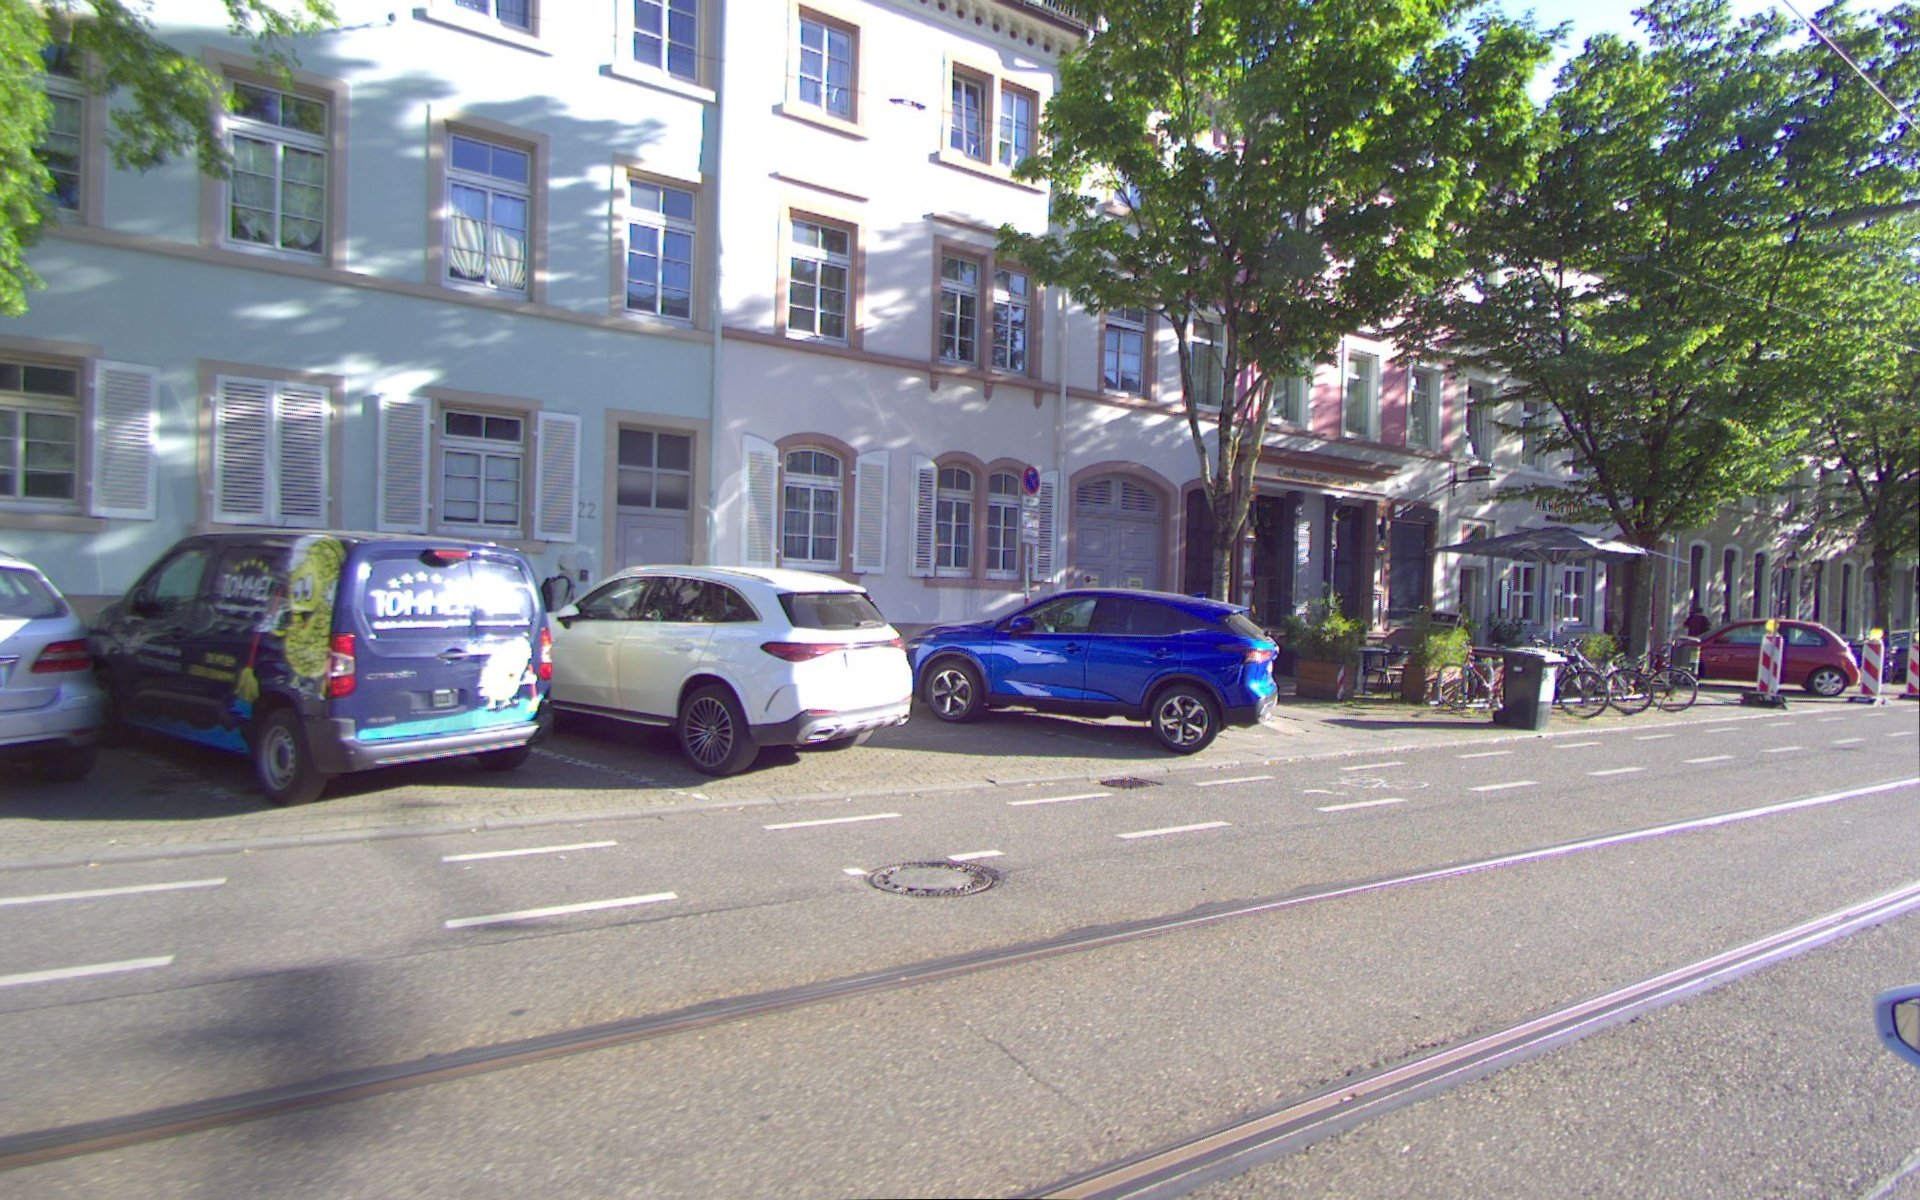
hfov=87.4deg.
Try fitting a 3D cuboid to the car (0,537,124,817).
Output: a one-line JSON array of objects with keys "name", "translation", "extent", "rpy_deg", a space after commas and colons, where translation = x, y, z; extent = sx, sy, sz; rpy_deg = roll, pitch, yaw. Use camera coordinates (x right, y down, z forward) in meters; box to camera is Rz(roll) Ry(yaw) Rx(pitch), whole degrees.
[{"name": "car", "translation": [-7.695, 0.376, 6.836], "extent": [3.928, 1.679, 1.807], "rpy_deg": [4, 3, 29]}]

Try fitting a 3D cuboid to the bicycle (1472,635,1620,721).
[{"name": "bicycle", "translation": [9.146, 1.183, 15.774], "extent": [0.561, 1.094, 1.959], "rpy_deg": [1, 3, -28]}]

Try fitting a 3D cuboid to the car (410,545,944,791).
[{"name": "car", "translation": [-2.804, 0.457, 9.649], "extent": [4.854, 1.818, 2.204], "rpy_deg": [2, 0, 31]}]

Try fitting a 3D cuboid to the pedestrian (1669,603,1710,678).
[{"name": "pedestrian", "translation": [20.291, 1.125, 27.930], "extent": [0.550, 2.040, 0.728], "rpy_deg": [1, 0, -30]}]

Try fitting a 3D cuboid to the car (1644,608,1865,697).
[{"name": "car", "translation": [17.246, 1.076, 22.047], "extent": [3.563, 1.574, 1.664], "rpy_deg": [3, 3, 33]}]

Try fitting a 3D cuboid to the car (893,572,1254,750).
[{"name": "car", "translation": [1.320, 0.613, 11.697], "extent": [3.827, 1.630, 1.573], "rpy_deg": [4, 0, 22]}]

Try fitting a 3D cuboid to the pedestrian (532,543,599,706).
[{"name": "pedestrian", "translation": [-4.672, 0.284, 11.874], "extent": [0.617, 1.862, 0.640], "rpy_deg": [1, 0, -30]}]

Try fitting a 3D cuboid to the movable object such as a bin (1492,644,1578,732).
[{"name": "movable object such as a bin", "translation": [7.784, 1.174, 13.606], "extent": [0.701, 1.092, 0.680], "rpy_deg": [1, 4, -30]}]

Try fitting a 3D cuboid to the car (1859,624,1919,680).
[{"name": "car", "translation": [27.847, 1.536, 28.110], "extent": [3.618, 1.490, 1.750], "rpy_deg": [4, 1, 30]}]

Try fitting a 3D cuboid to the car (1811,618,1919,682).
[{"name": "car", "translation": [25.635, 1.380, 26.825], "extent": [4.130, 1.511, 1.939], "rpy_deg": [3, 2, 32]}]

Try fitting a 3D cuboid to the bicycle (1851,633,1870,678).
[{"name": "bicycle", "translation": [23.132, 1.402, 25.812], "extent": [0.328, 1.110, 1.586], "rpy_deg": [1, -1, 41]}]

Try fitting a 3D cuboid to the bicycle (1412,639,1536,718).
[{"name": "bicycle", "translation": [7.663, 1.147, 15.020], "extent": [0.386, 1.001, 1.585], "rpy_deg": [1, 2, -41]}]

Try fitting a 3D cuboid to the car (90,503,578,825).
[{"name": "car", "translation": [-4.876, 0.329, 7.784], "extent": [3.384, 1.867, 1.730], "rpy_deg": [6, 2, 29]}]

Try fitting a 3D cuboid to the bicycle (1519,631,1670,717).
[{"name": "bicycle", "translation": [10.303, 1.169, 16.396], "extent": [0.560, 1.102, 1.994], "rpy_deg": [1, 4, -28]}]

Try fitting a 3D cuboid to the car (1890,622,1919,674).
[{"name": "car", "translation": [30.088, 1.524, 29.799], "extent": [3.314, 1.513, 1.609], "rpy_deg": [4, 2, 31]}]

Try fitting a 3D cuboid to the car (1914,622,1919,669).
[{"name": "car", "translation": [32.648, 1.576, 31.176], "extent": [4.046, 1.533, 1.836], "rpy_deg": [3, 2, 33]}]
